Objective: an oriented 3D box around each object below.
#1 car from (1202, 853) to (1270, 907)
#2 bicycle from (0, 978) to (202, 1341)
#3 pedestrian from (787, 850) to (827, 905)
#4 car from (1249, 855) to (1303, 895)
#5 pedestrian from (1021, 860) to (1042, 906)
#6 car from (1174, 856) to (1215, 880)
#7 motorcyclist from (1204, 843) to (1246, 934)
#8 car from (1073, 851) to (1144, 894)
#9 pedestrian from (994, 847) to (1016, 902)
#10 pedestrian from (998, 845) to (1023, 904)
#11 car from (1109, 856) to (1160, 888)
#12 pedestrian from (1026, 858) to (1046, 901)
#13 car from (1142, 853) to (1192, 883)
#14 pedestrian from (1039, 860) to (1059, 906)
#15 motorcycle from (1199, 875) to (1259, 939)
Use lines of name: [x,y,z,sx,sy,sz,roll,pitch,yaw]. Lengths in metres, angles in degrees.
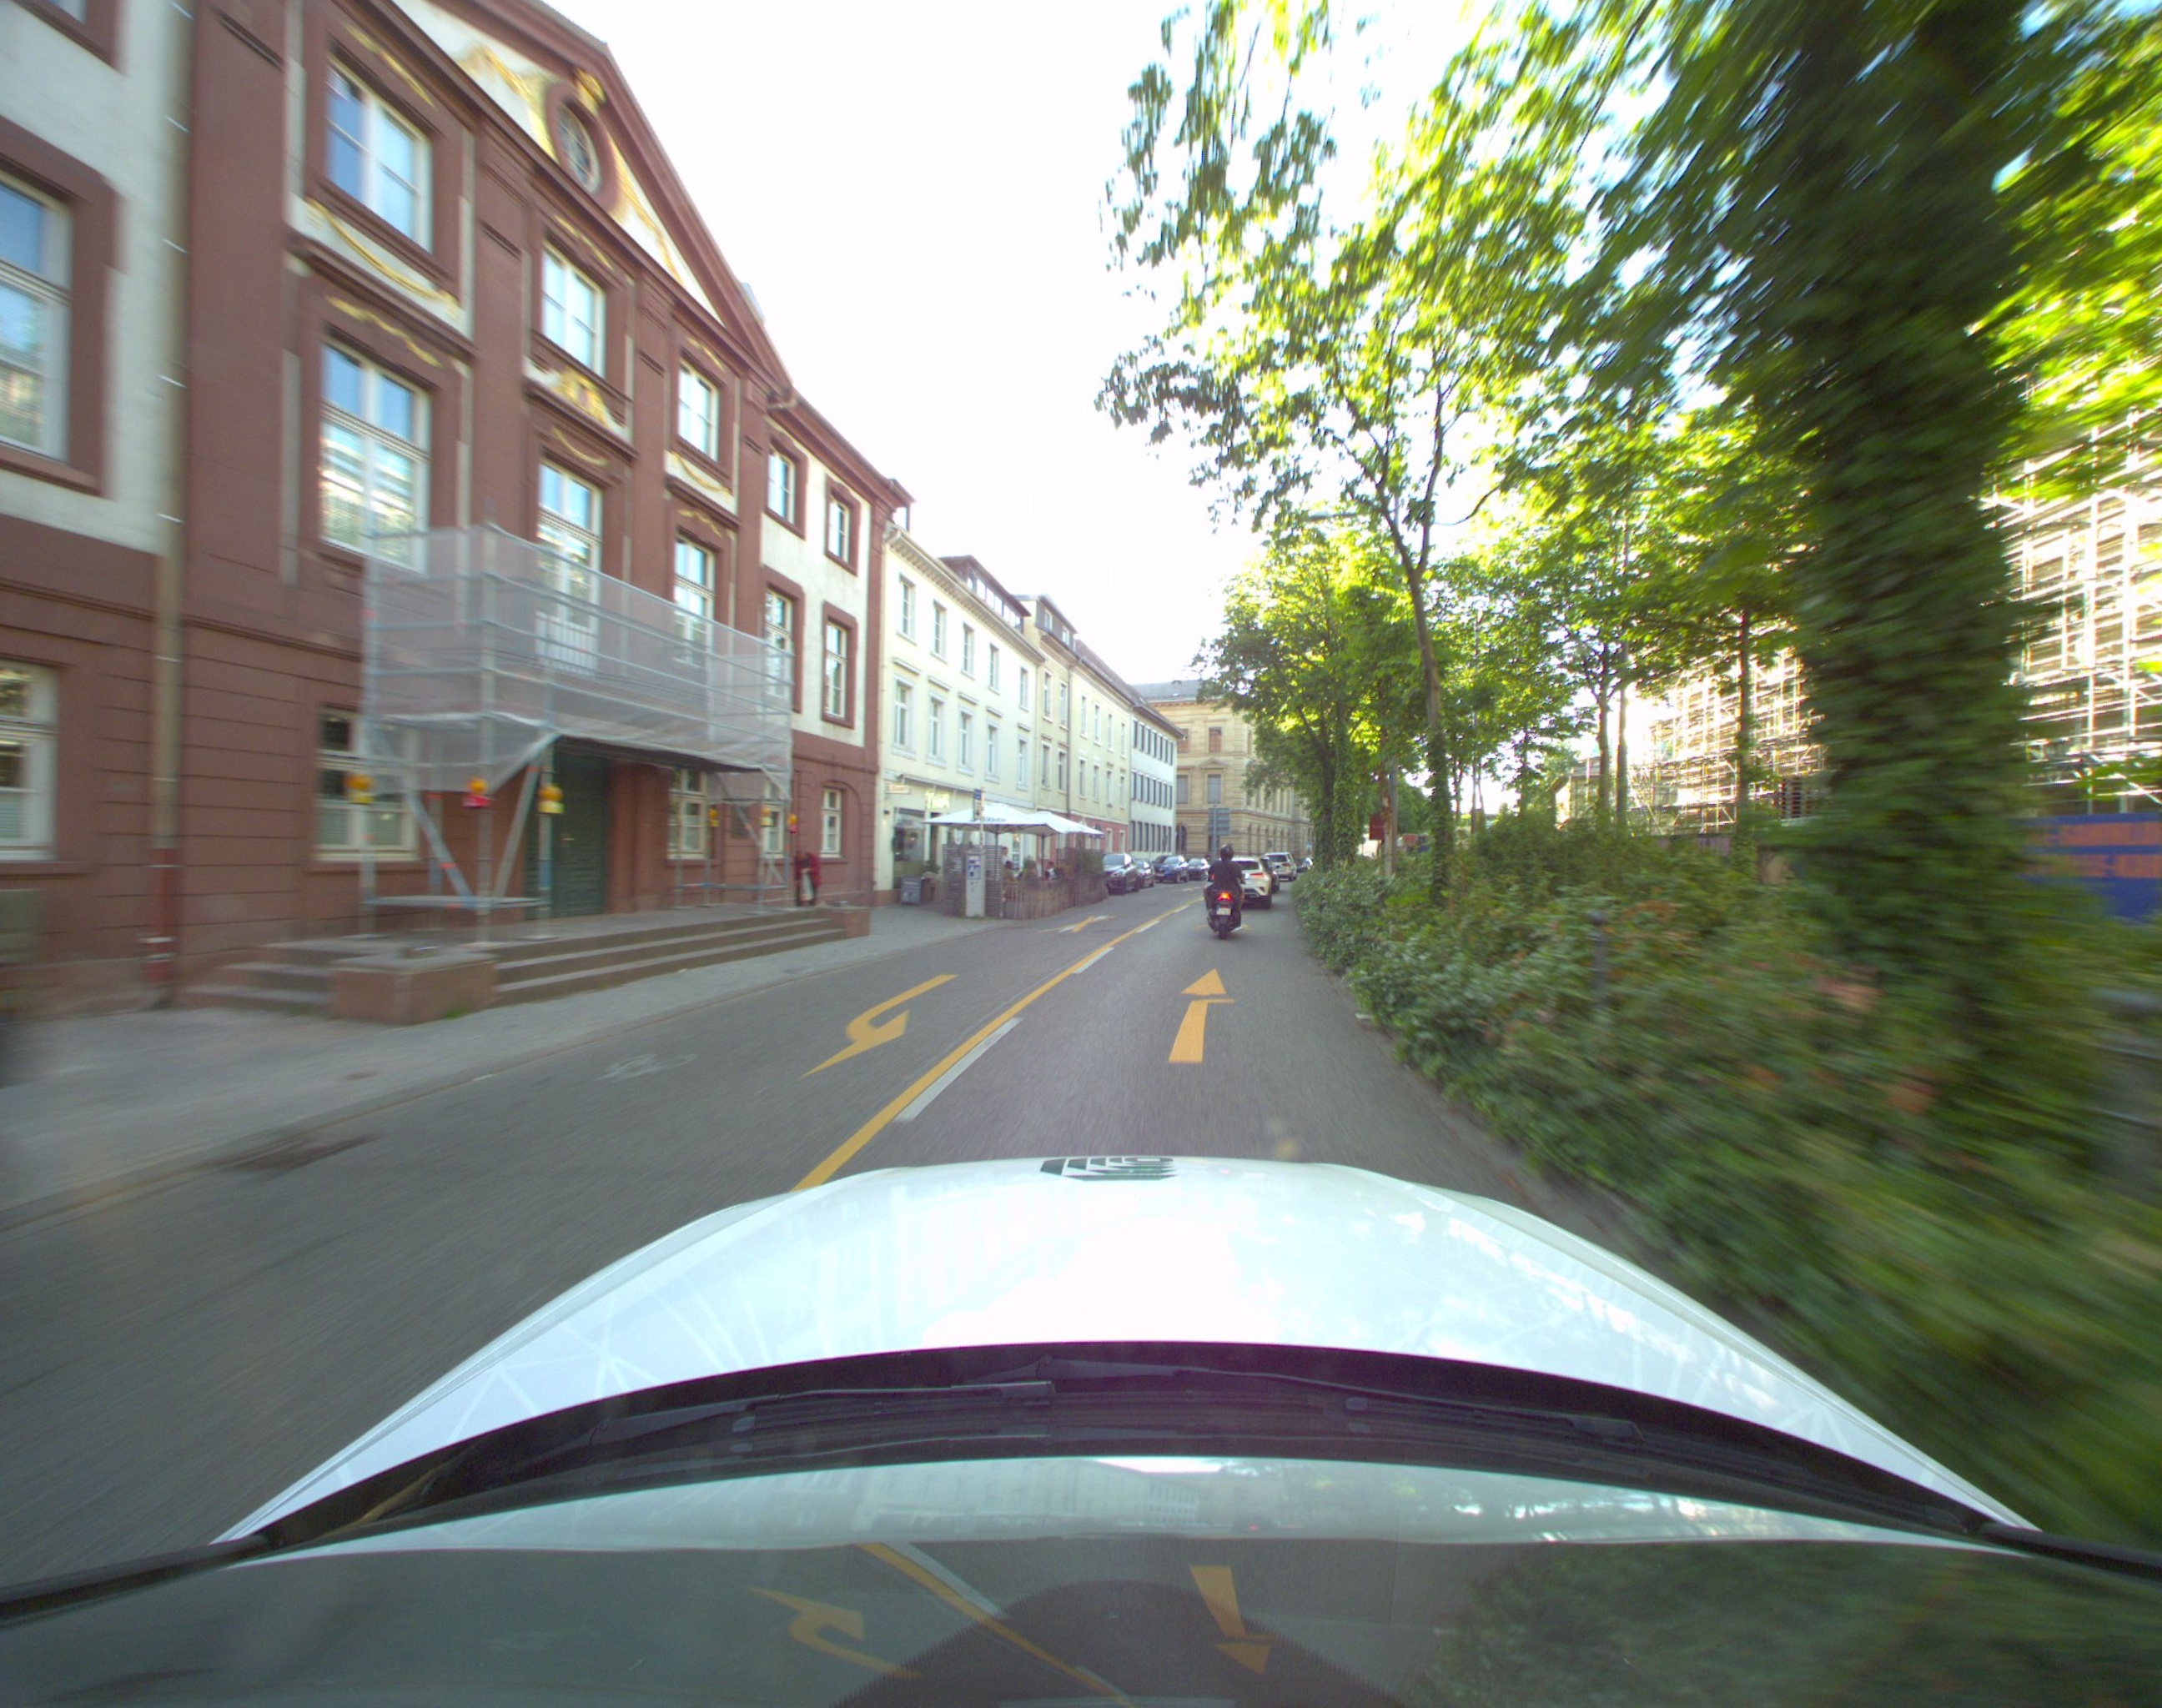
car: [4.724,0.710,24.410,1.838,1.480,4.072,1,0,13]
bicycle: [-3.895,1.031,2.155,0.768,1.062,2.081,1,0,5]
pedestrian: [-5.383,0.448,16.013,0.533,1.053,0.553,2,0,9]
car: [7.979,0.783,33.055,1.826,1.463,4.075,2,0,17]
pedestrian: [-1.525,0.876,24.983,0.520,1.391,0.490,1,0,10]
car: [7.662,0.891,54.789,1.809,1.503,4.783,2,0,19]
motorcyclist: [2.701,0.628,15.307,0.655,1.650,0.651,2,0,1]
car: [1.253,0.728,34.145,1.908,1.679,4.805,0,0,16]
pedestrian: [-2.462,0.650,26.471,0.433,1.775,0.601,0,0,26]
pedestrian: [-2.179,0.628,25.194,0.590,1.775,0.441,1,0,22]
car: [2.701,0.856,40.035,1.641,1.480,4.446,0,0,16]
pedestrian: [-1.490,0.841,26.979,0.520,1.391,0.490,1,0,10]
car: [5.082,0.809,47.641,1.918,1.667,4.368,0,0,19]
pedestrian: [-0.994,0.901,25.643,0.467,1.433,0.504,1,0,18]
motorcycle: [2.735,0.958,15.220,0.794,1.066,1.725,2,0,0]
